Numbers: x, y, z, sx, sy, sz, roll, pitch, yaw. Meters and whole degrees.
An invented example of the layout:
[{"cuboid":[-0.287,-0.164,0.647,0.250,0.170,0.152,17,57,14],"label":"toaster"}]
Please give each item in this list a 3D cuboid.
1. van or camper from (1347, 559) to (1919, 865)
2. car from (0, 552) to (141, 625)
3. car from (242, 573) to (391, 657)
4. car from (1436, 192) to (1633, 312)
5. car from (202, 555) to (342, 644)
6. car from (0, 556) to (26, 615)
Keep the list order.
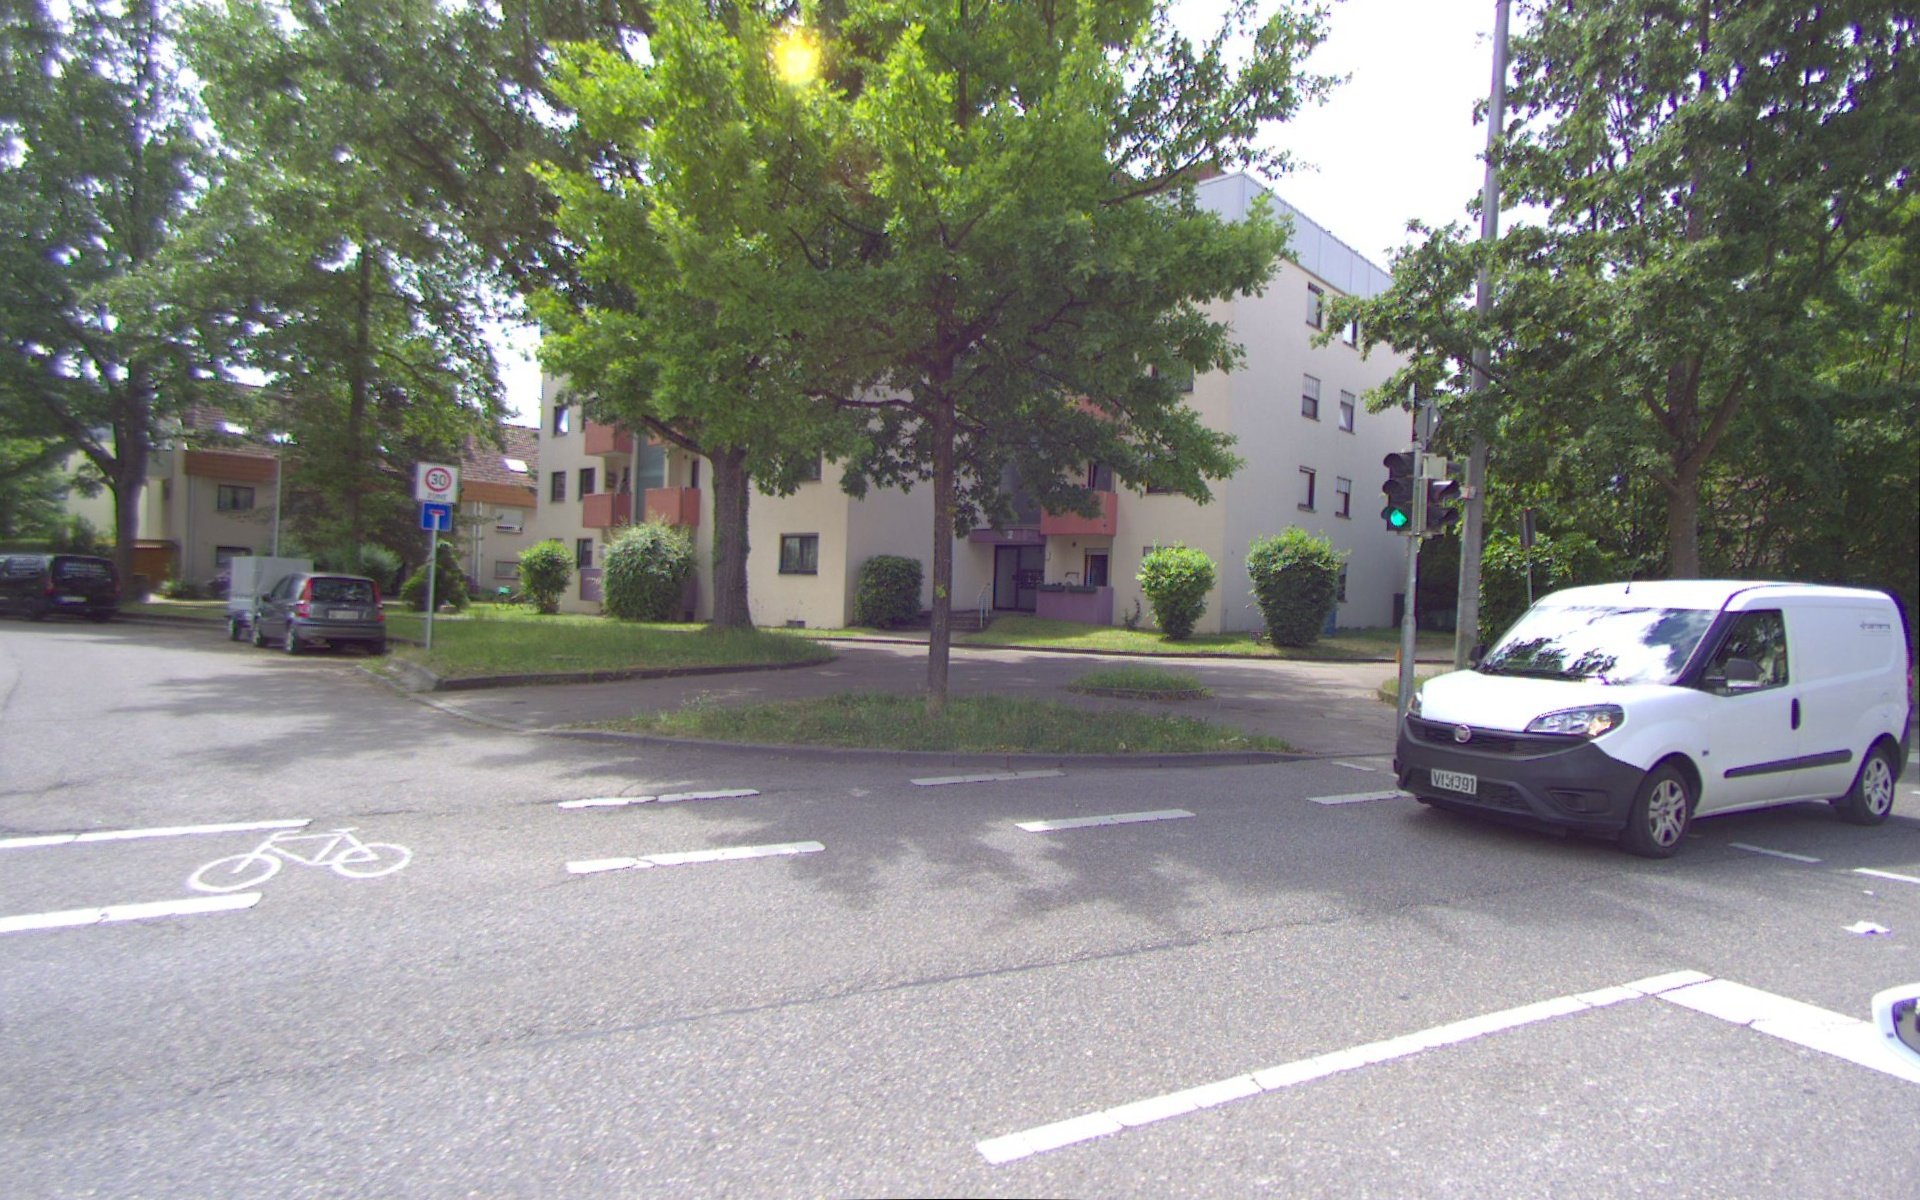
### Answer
[{"cuboid":[5.289,0.683,7.667,4.321,1.800,1.855,1,1,-25],"label":"van or camper"},{"cuboid":[-24.936,-0.346,27.468,4.332,1.818,2.125,2,1,23],"label":"car"},{"cuboid":[-12.831,0.241,19.933,3.946,1.472,1.686,2,1,45],"label":"car"},{"cuboid":[12.817,-7.659,22.393,3.948,1.347,1.822,4,2,-26],"label":"car"},{"cuboid":[-15.860,0.019,23.091,3.943,1.869,1.835,-1,-1,43],"label":"car"},{"cuboid":[-30.107,-0.485,29.800,4.192,1.726,1.942,2,1,23],"label":"car"}]
